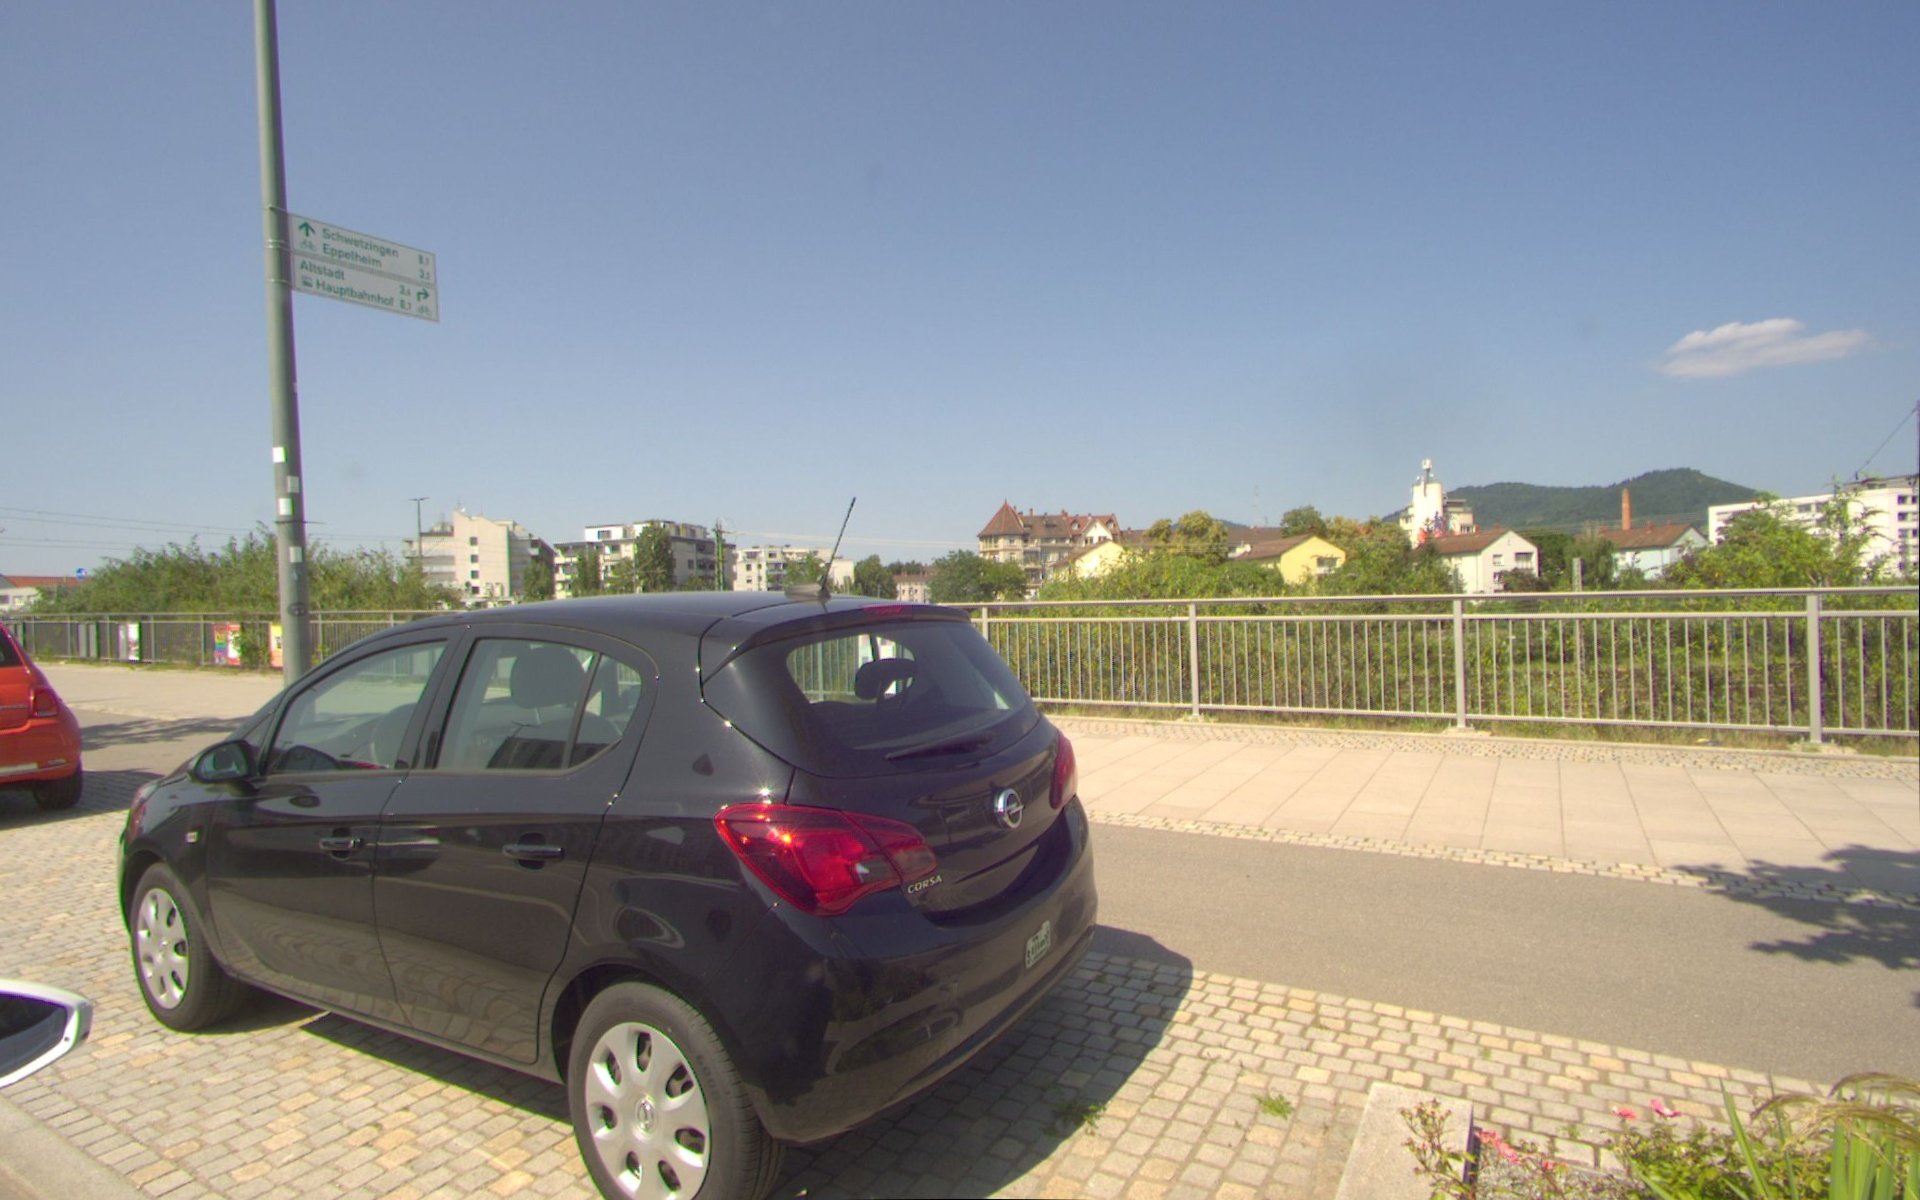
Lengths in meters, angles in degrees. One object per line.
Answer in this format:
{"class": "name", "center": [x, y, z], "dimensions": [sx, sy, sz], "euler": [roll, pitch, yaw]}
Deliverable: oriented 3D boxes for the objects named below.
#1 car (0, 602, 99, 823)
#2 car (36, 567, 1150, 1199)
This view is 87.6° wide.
{"class": "car", "center": [-8.171, 0.808, 7.604], "dimensions": [3.305, 1.517, 1.605], "euler": [-1, 2, 34]}
{"class": "car", "center": [-1.499, 0.689, 3.597], "dimensions": [3.943, 1.446, 1.656], "euler": [-1, 2, 32]}
